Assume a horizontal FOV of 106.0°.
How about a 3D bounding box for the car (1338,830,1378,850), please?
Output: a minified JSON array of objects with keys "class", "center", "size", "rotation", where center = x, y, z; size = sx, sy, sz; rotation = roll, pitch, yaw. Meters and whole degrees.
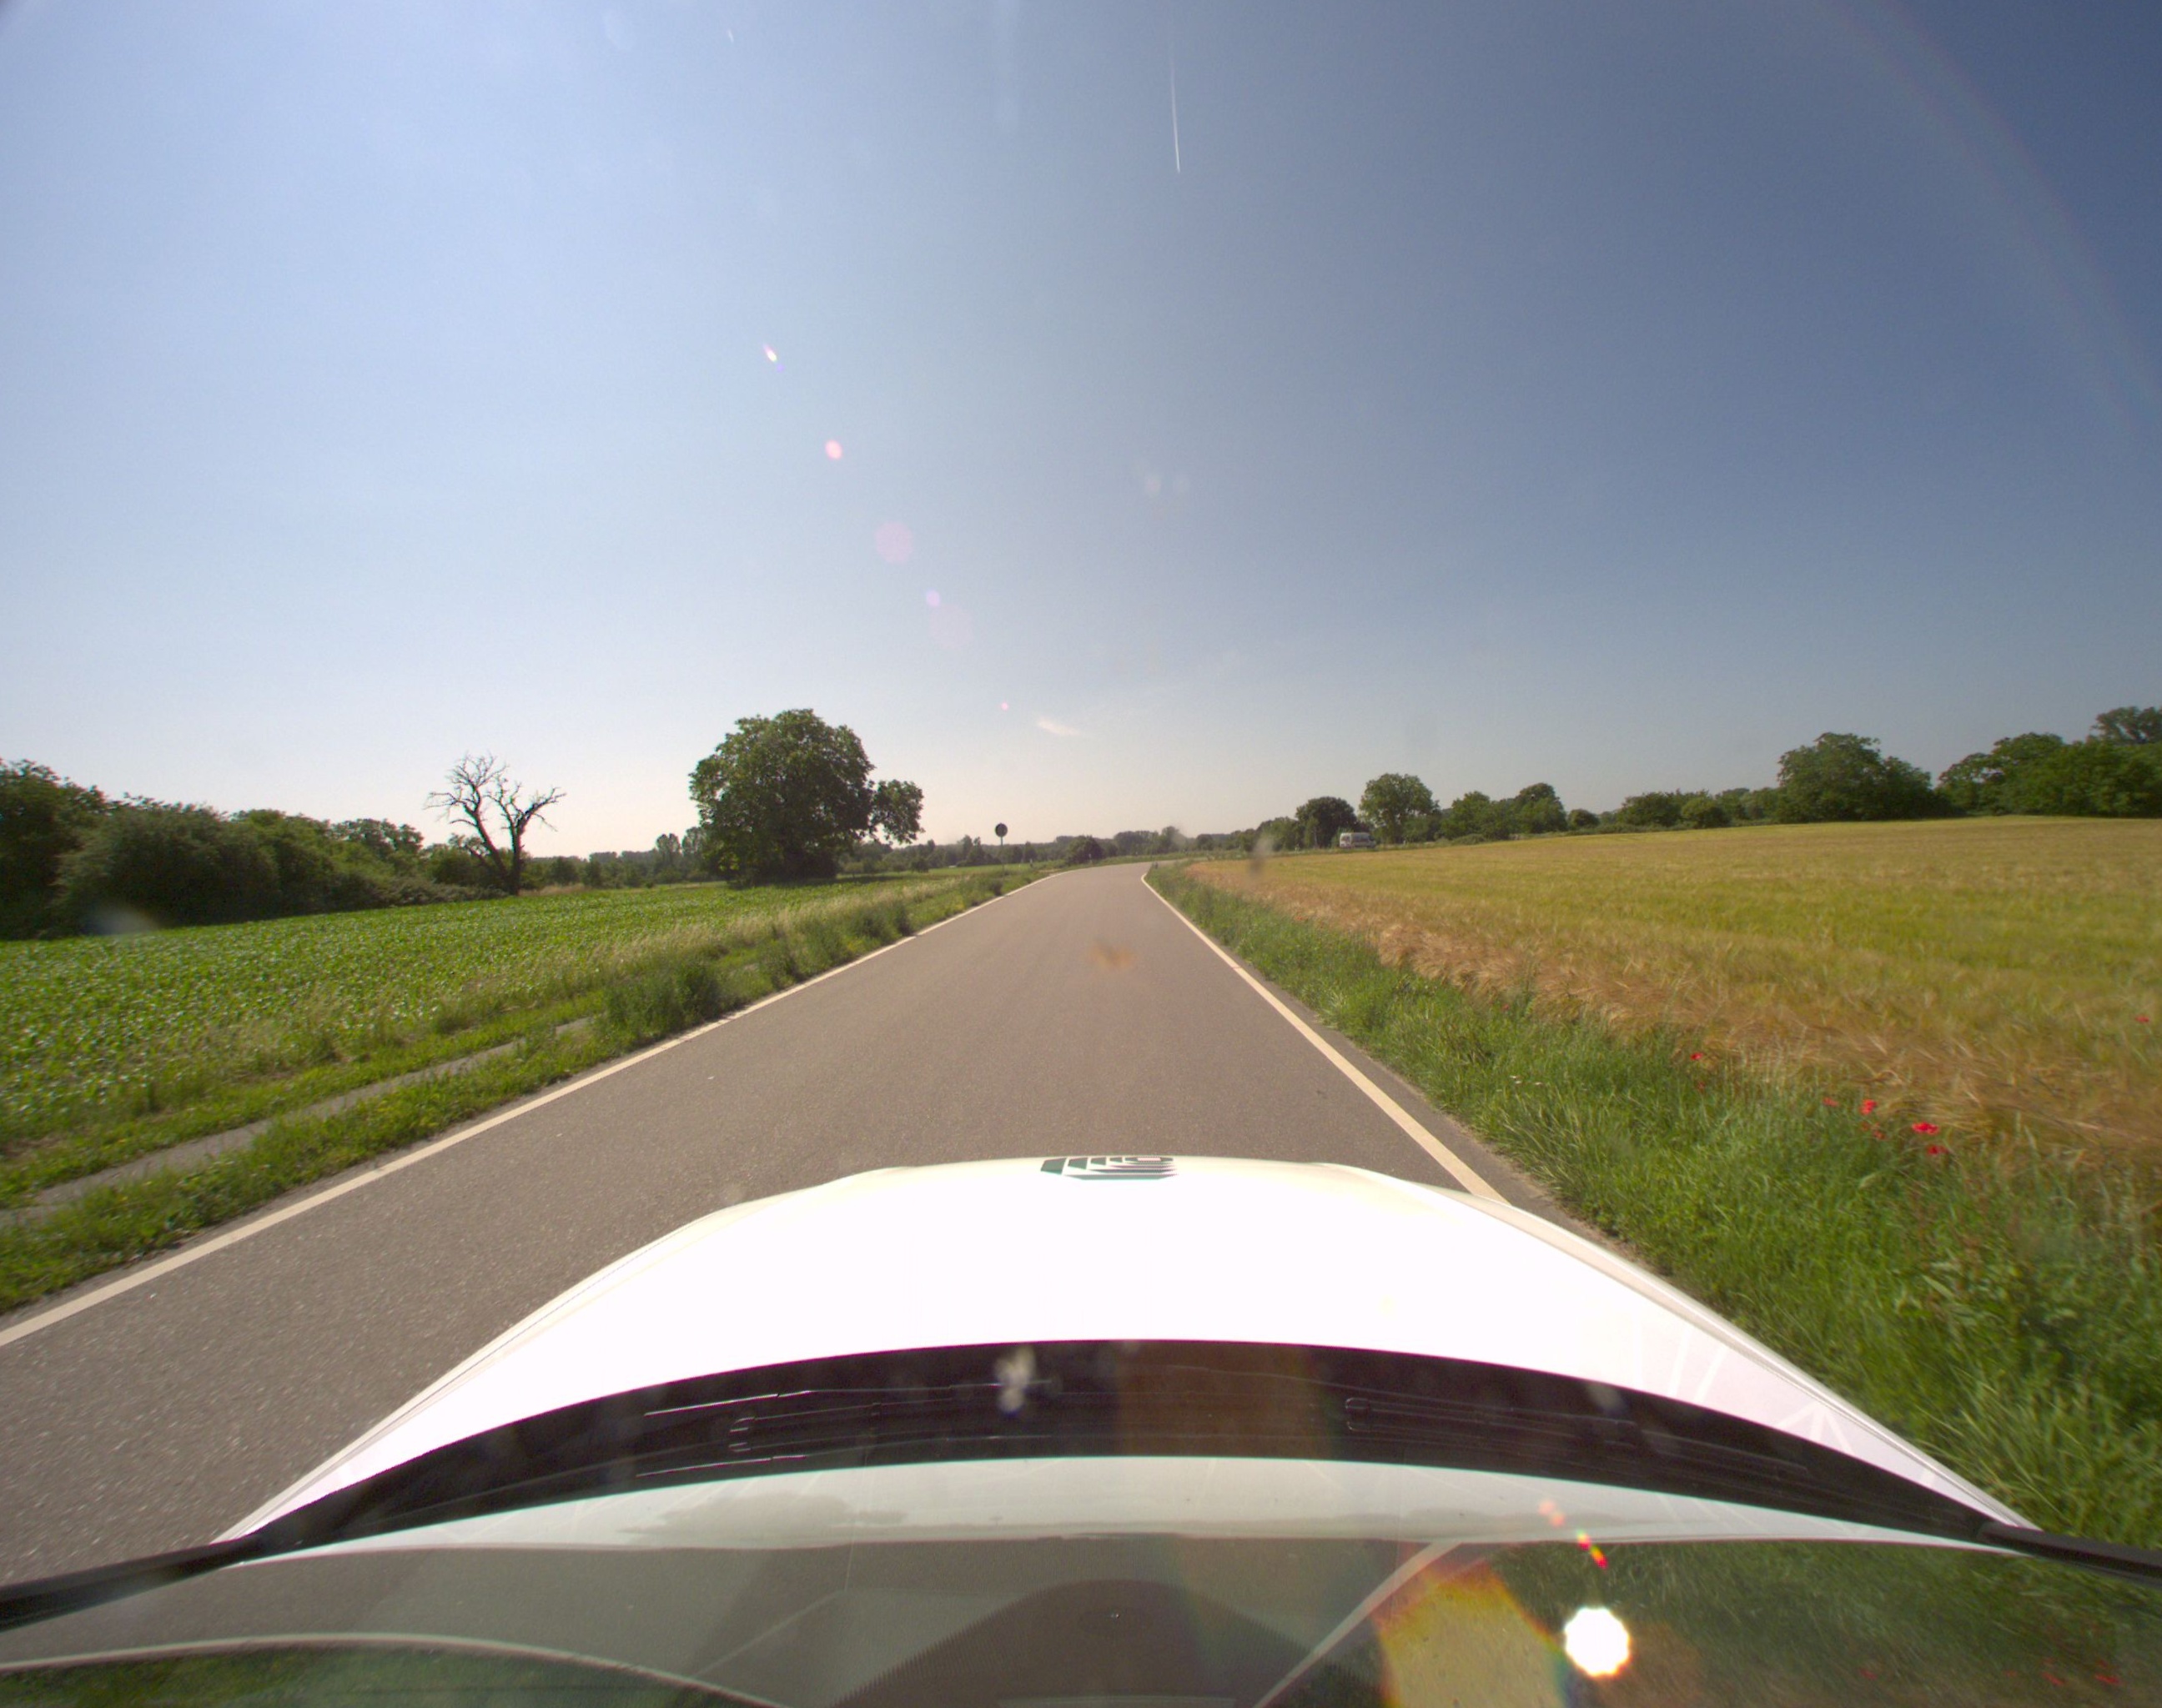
[{"class":"car","center":[38.358,-1.976,112.683],"size":[5.710,2.367,2.088],"rotation":[-4,0,-35]}]
